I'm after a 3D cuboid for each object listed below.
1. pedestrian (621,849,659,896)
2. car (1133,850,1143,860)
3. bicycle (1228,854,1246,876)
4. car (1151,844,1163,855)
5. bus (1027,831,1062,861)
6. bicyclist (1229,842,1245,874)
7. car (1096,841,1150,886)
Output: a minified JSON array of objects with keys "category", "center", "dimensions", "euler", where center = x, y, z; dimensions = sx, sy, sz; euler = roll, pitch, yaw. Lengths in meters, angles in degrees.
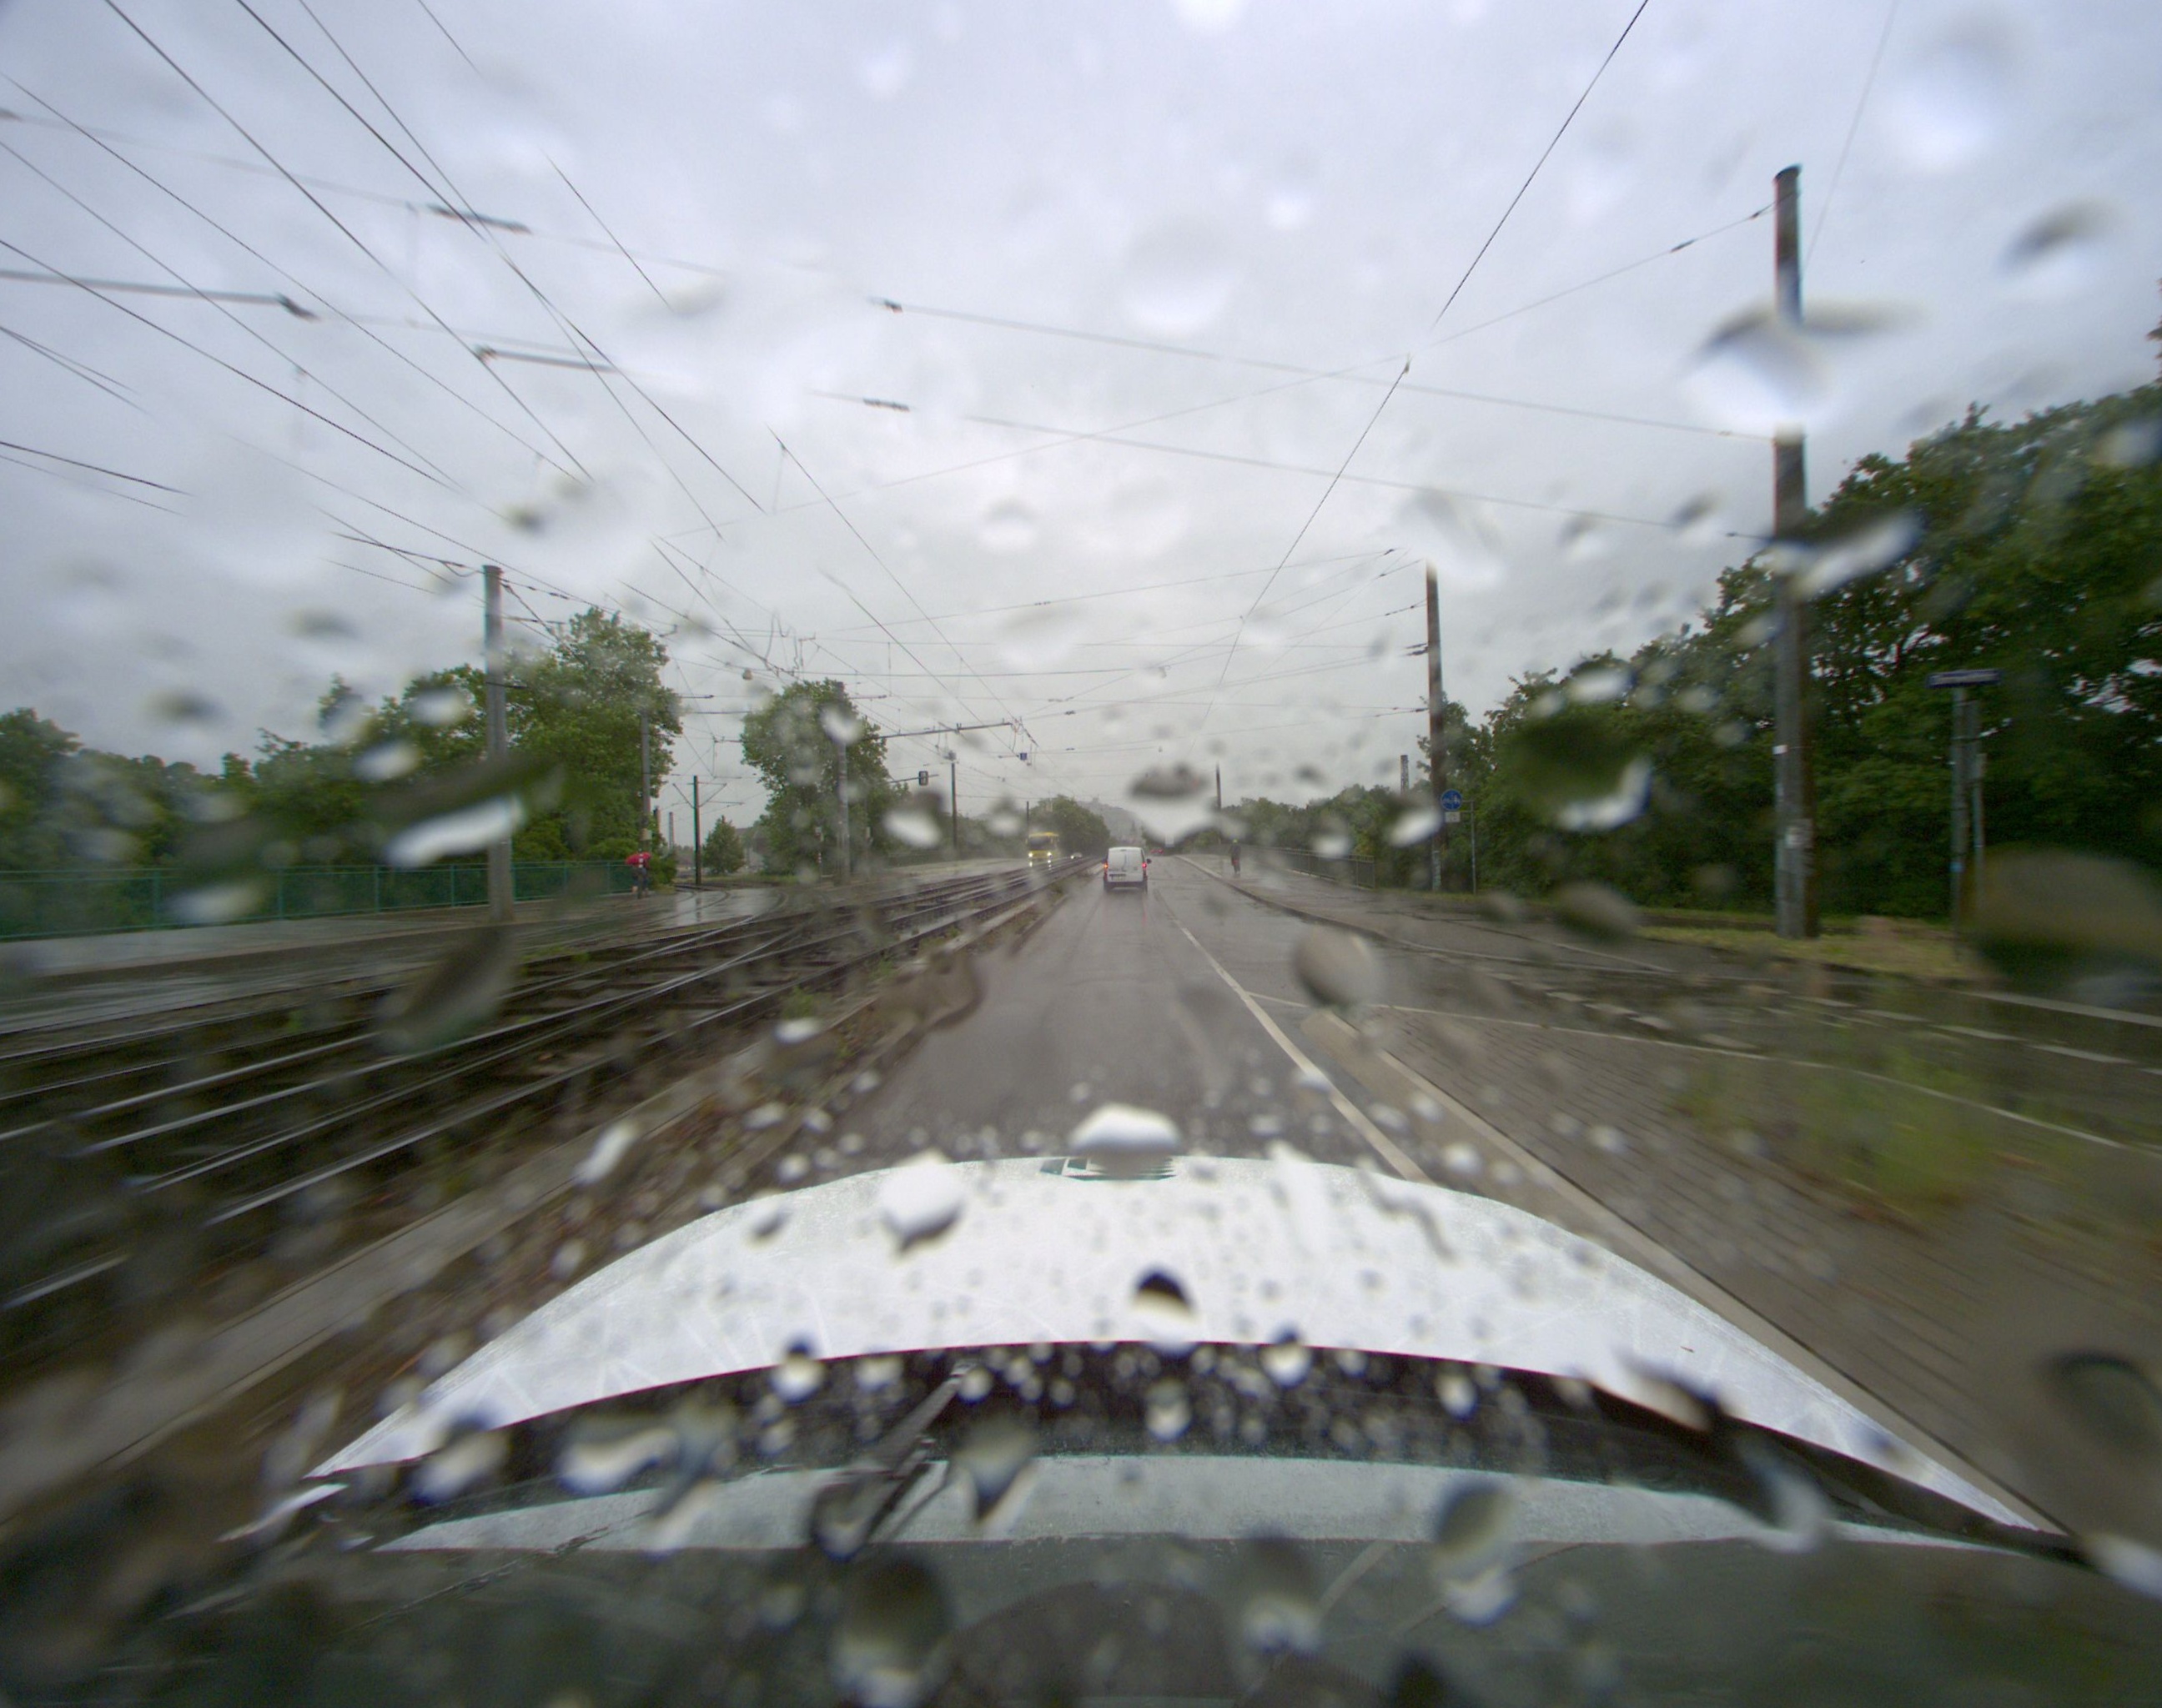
[{"category":"pedestrian","center":[-17.432,0.732,32.214],"dimensions":[0.861,1.819,1.043],"euler":[0,-1,2]},{"category":"car","center":[8.922,0.178,127.109],"dimensions":[1.446,1.499,2.982],"euler":[0,-1,0]},{"category":"bicycle","center":[8.532,0.589,44.652],"dimensions":[0.720,1.129,2.170],"euler":[0,0,4]},{"category":"car","center":[11.230,-0.689,120.228],"dimensions":[1.446,1.499,2.982],"euler":[0,-1,0]},{"category":"bus","center":[-4.293,-1.065,98.219],"dimensions":[2.696,3.340,11.007],"euler":[-3,2,4]},{"category":"bicyclist","center":[8.548,0.227,44.670],"dimensions":[0.722,1.764,0.950],"euler":[0,-1,4]},{"category":"car","center":[1.781,0.374,33.382],"dimensions":[1.983,1.726,4.007],"euler":[0,-1,6]}]
